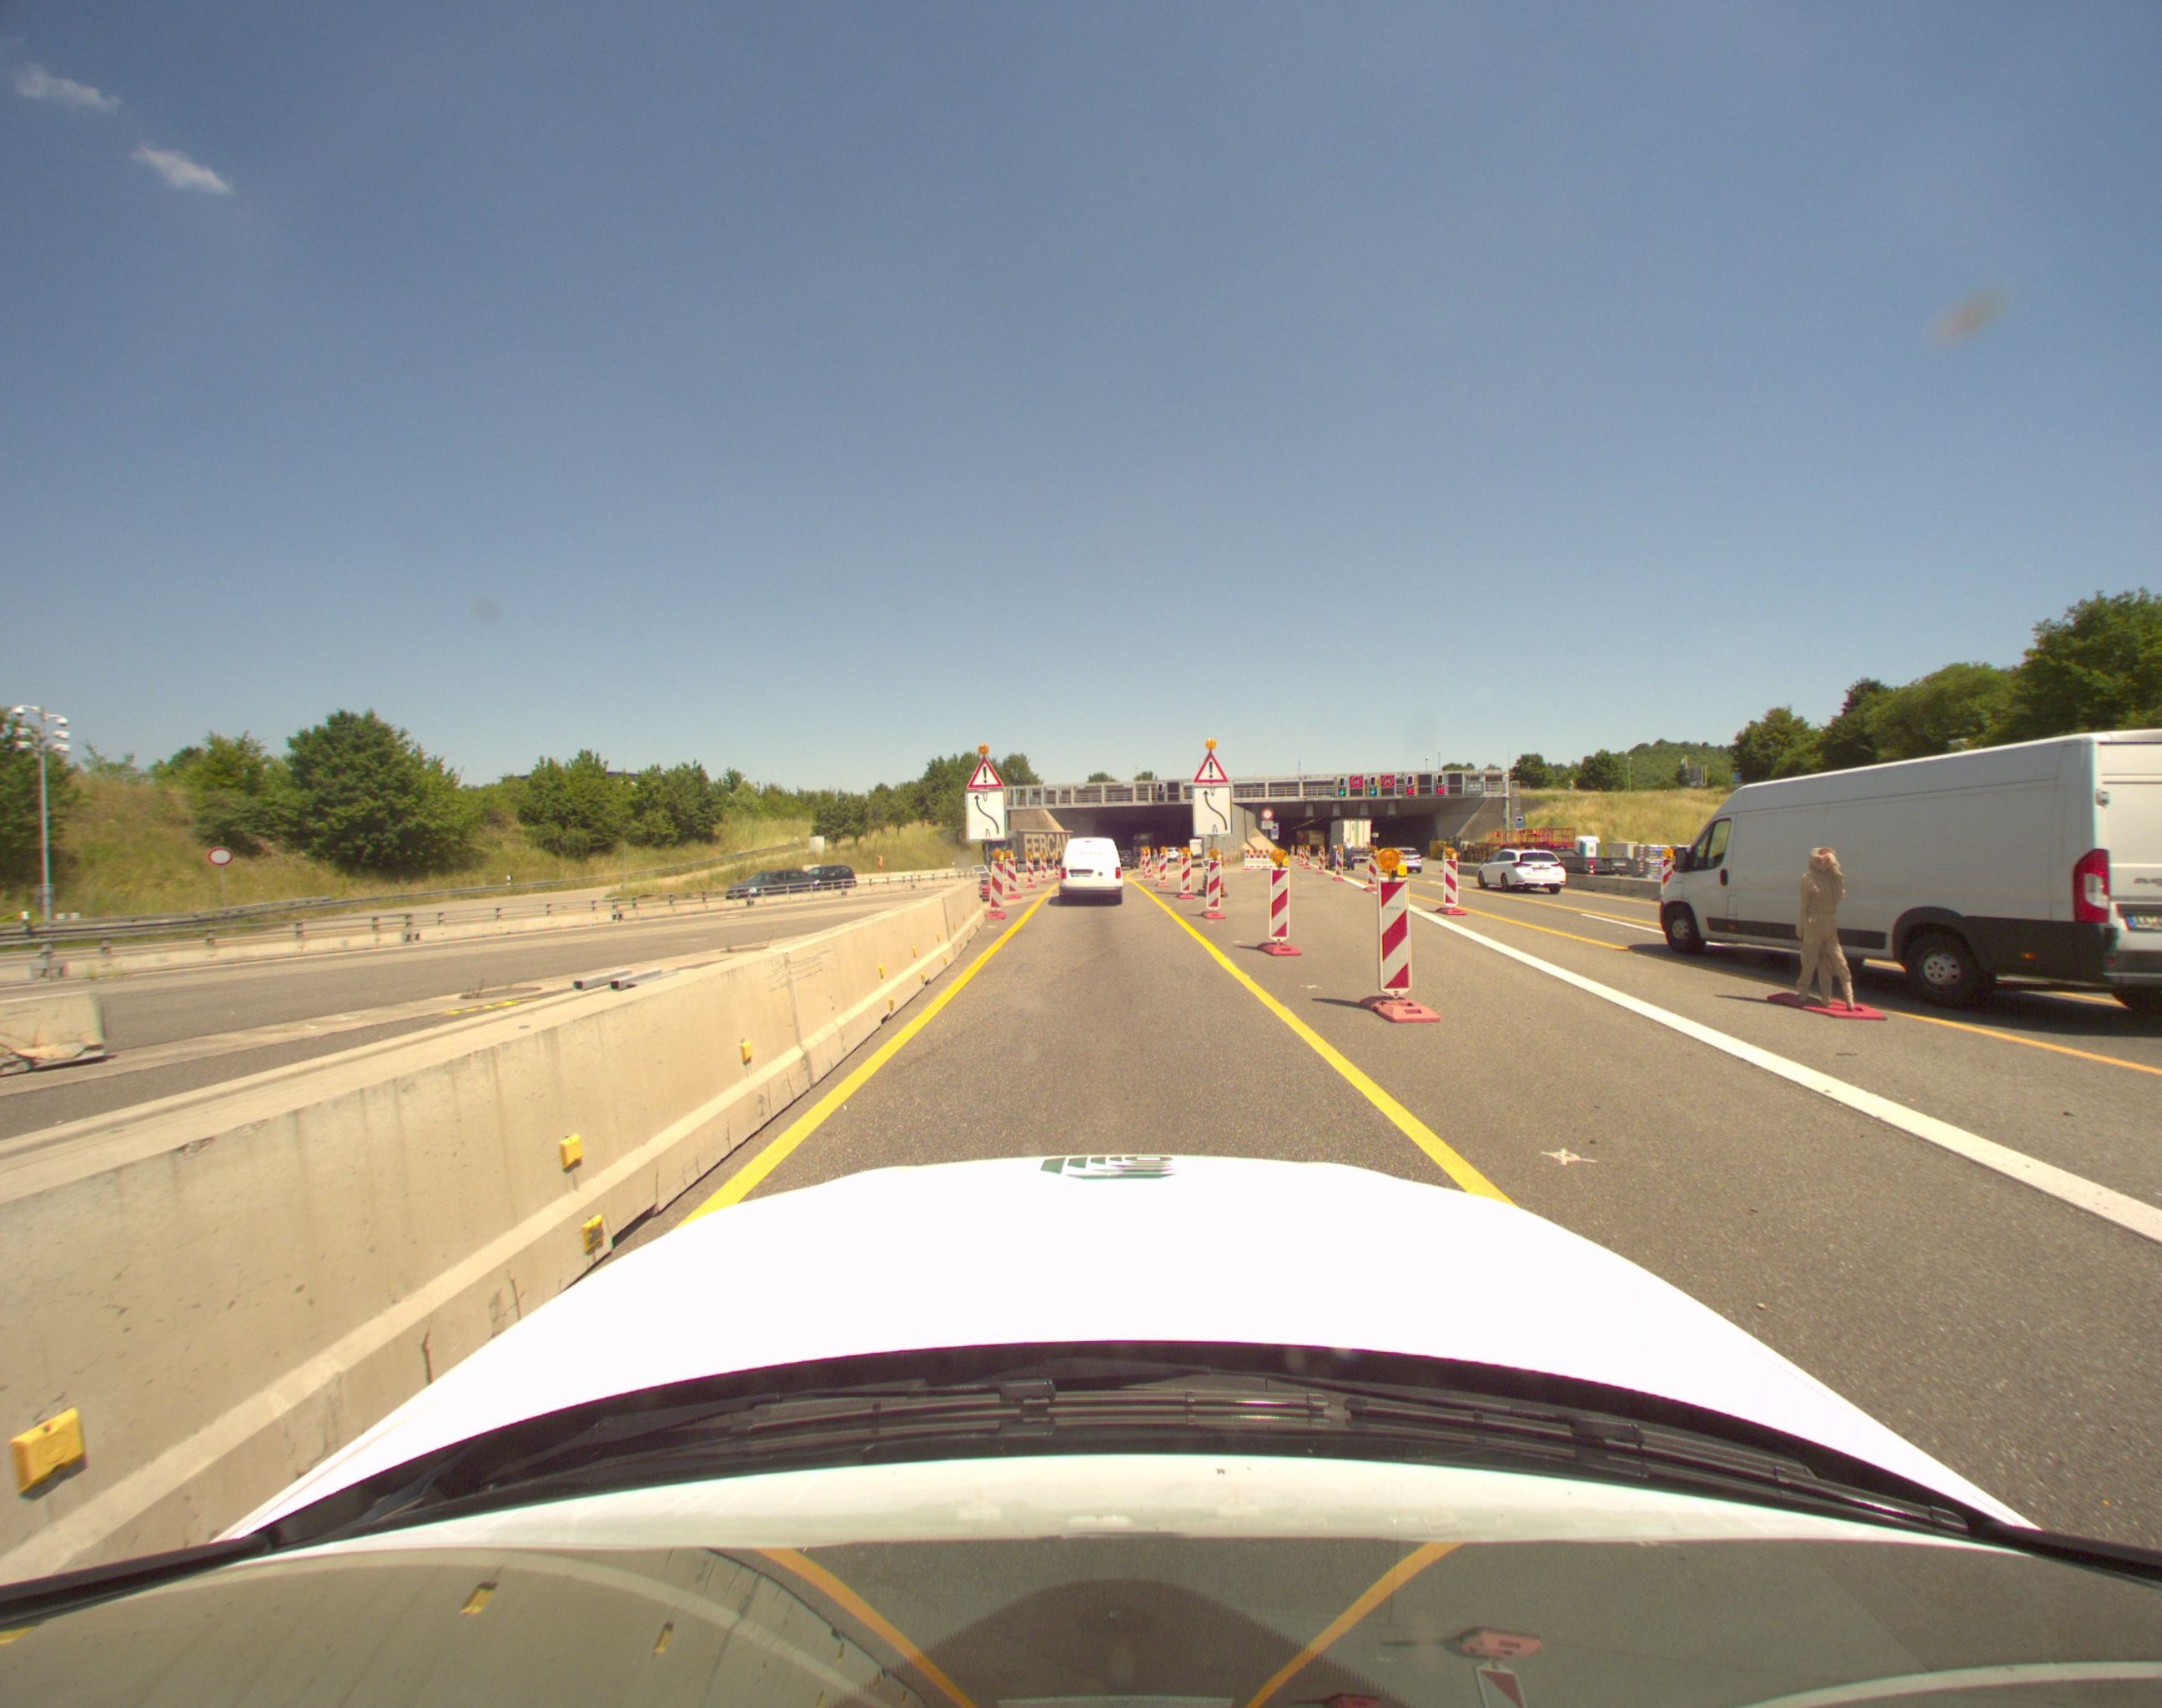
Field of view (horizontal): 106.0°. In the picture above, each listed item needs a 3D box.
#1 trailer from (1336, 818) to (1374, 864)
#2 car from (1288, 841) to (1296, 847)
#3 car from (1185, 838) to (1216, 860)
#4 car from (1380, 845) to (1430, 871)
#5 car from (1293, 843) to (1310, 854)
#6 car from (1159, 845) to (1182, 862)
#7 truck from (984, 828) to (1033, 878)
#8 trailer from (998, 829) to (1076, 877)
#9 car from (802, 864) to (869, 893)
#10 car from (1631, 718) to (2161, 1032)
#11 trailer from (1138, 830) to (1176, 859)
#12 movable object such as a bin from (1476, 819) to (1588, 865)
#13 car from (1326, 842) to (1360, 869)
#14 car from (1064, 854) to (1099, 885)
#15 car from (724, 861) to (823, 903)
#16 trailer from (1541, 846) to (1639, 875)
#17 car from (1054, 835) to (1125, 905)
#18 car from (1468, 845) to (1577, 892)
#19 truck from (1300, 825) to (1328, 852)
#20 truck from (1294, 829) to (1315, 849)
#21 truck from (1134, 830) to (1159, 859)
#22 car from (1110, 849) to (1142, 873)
[{"bbox_3d":[26.858,-1.168,80.359,2.712,4.062,14.153,0,0,15],"label":"trailer"},{"bbox_3d":[66.037,-3.087,254.900,2.317,1.838,4.557,0,0,11],"label":"car"},{"bbox_3d":[15.728,-0.626,106.636,2.791,2.773,7.133,0,-1,18],"label":"car"},{"bbox_3d":[19.276,0.245,48.664,1.804,1.464,4.664,1,0,9],"label":"car"},{"bbox_3d":[31.506,-0.757,116.496,1.805,1.630,4.199,1,0,8],"label":"car"},{"bbox_3d":[9.813,-0.052,89.221,1.795,1.751,4.427,-2,0,15],"label":"car"},{"bbox_3d":[-6.518,-0.112,73.794,2.411,4.270,4.863,-2,0,20],"label":"truck"},{"bbox_3d":[-4.069,-0.171,80.586,2.415,4.296,13.878,-2,0,20],"label":"trailer"},{"bbox_3d":[-13.792,1.343,45.869,1.701,1.491,3.706,-2,0,19],"label":"car"},{"bbox_3d":[9.672,0.163,9.798,2.254,2.536,6.596,0,0,6],"label":"car"},{"bbox_3d":[11.887,-1.460,125.949,2.318,4.102,13.329,-2,0,20],"label":"trailer"},{"bbox_3d":[34.535,-0.832,63.290,3.091,3.011,14.746,-2,0,11],"label":"movable object such as a bin"},{"bbox_3d":[16.988,0.083,52.967,1.802,1.642,4.670,0,0,14],"label":"car"},{"bbox_3d":[-0.018,0.816,44.949,1.803,1.537,4.407,-2,0,-1],"label":"car"},{"bbox_3d":[-13.883,1.240,37.073,1.683,1.730,4.474,-1,0,20],"label":"car"},{"bbox_3d":[30.434,0.361,49.017,2.581,1.569,6.248,-2,0,7],"label":"trailer"},{"bbox_3d":[0.293,0.417,23.337,1.801,1.794,3.733,-2,0,2],"label":"car"},{"bbox_3d":[15.328,0.520,28.572,1.805,1.465,4.661,1,-1,7],"label":"car"},{"bbox_3d":[41.033,-2.636,143.995,3.380,4.335,16.585,1,-1,11],"label":"truck"},{"bbox_3d":[50.187,-3.229,183.099,3.380,4.071,16.587,0,0,11],"label":"truck"},{"bbox_3d":[9.706,-1.415,120.039,2.314,4.108,5.042,-2,0,20],"label":"truck"},{"bbox_3d":[3.717,0.559,67.194,1.796,1.815,4.426,-2,0,14],"label":"car"}]
